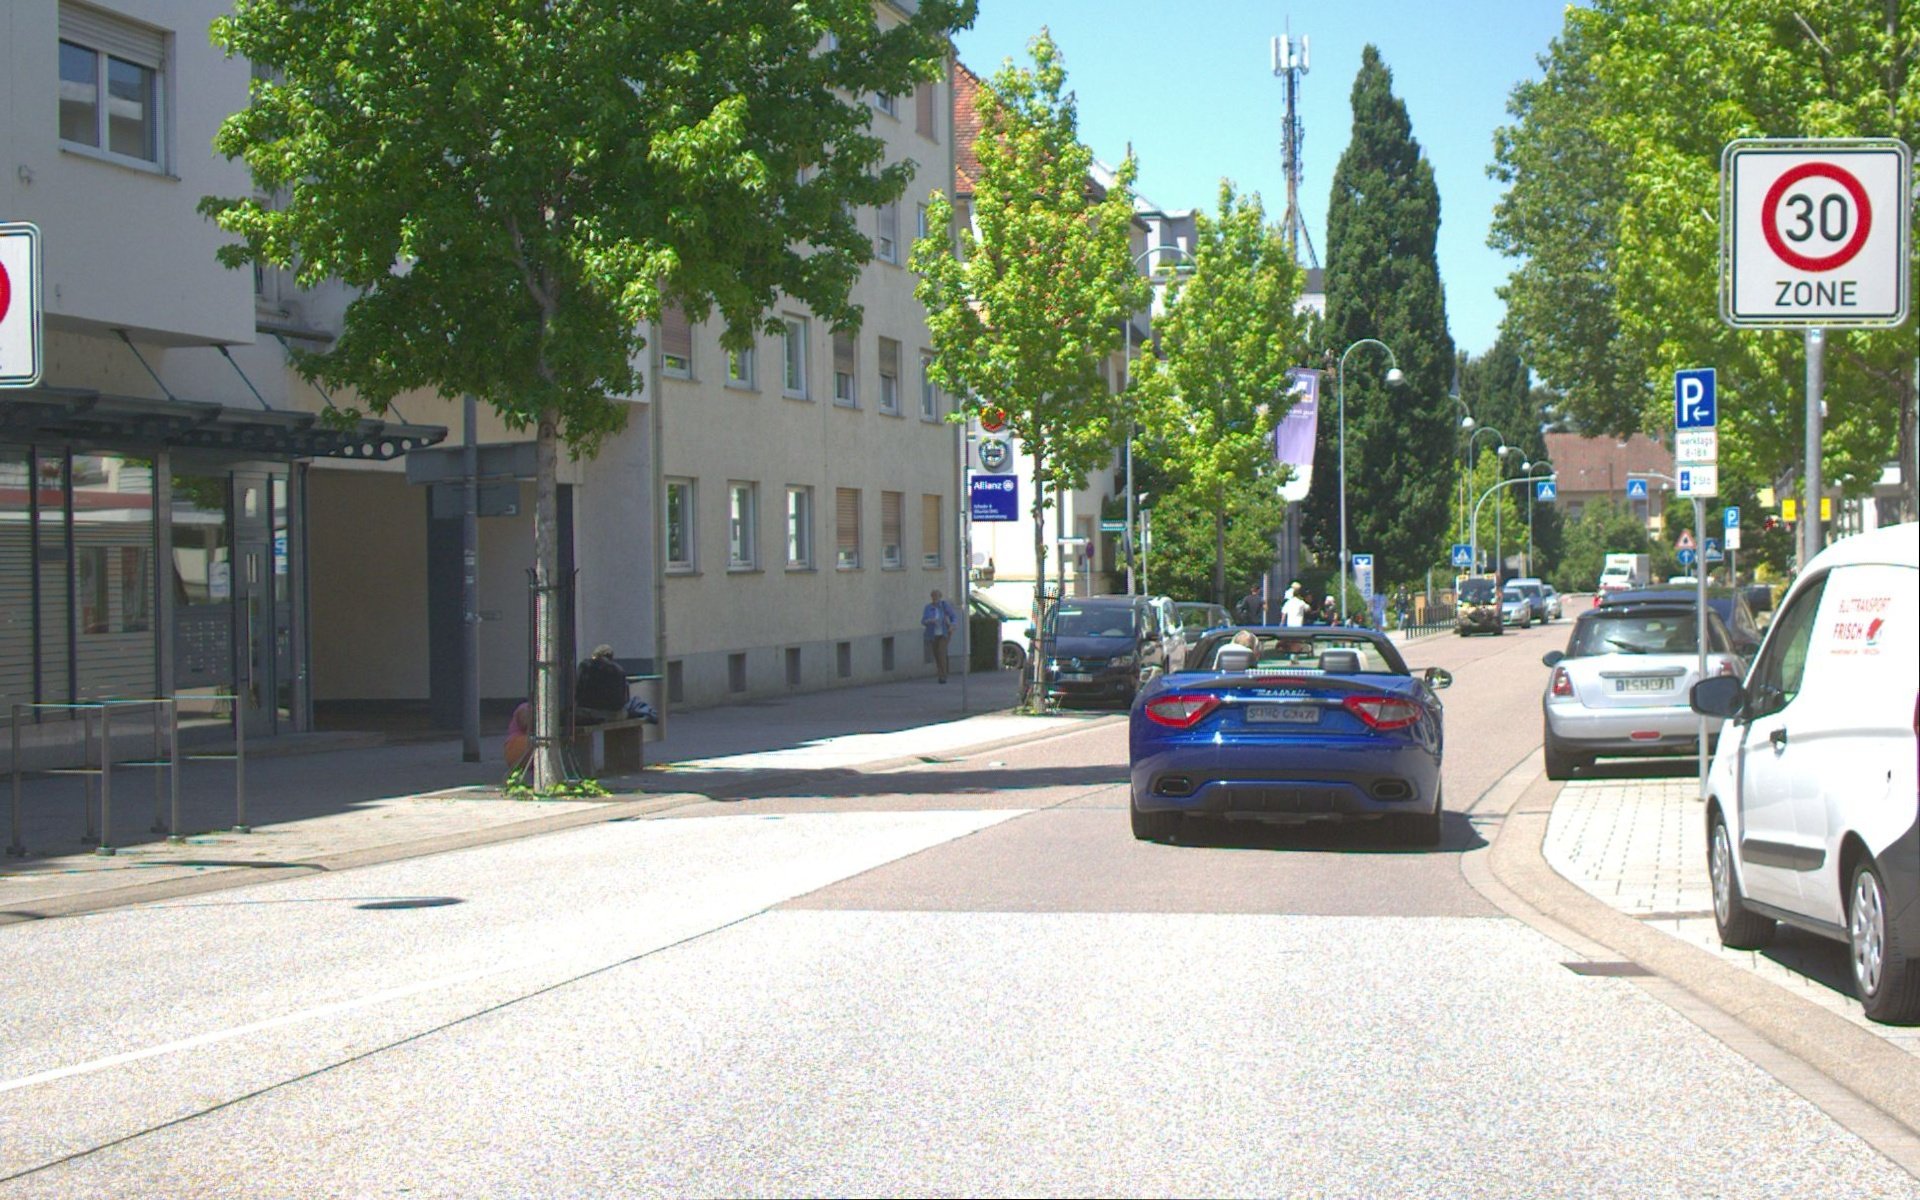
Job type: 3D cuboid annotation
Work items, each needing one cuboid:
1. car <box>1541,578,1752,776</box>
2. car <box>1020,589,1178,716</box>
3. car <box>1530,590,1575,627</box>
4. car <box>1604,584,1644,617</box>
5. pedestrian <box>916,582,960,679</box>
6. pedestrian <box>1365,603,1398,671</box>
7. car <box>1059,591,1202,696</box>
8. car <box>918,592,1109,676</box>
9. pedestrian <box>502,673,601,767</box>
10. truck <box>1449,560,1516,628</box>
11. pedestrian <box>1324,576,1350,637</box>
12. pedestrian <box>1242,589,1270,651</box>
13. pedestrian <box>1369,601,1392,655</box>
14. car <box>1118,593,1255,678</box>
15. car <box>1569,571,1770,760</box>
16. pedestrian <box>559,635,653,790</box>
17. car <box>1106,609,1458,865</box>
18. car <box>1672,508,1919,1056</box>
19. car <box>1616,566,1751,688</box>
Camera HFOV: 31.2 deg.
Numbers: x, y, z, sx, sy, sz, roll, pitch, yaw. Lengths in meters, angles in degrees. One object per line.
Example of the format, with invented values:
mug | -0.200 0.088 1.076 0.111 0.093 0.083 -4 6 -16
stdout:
car | 5.898 0.616 29.437 1.623 1.553 3.838 -1 0 12
car | 2.145 0.751 51.957 1.729 1.734 4.390 2 1 11
car | 25.973 0.368 150.517 1.770 1.471 4.135 -2 0 11
car | 30.373 0.043 157.240 1.770 1.471 4.135 -1 0 11
pedestrian | -0.403 0.537 61.537 0.655 1.674 0.631 -3 2 -5
pedestrian | 12.372 1.076 100.836 0.849 1.909 0.761 -2 2 11
car | 2.903 0.692 57.721 1.825 1.614 4.390 1 1 11
car | 1.217 0.748 77.516 4.061 1.817 1.759 1 1 11
pedestrian | -3.832 1.133 32.285 0.665 0.855 0.732 -2 -4 21
truck | 17.102 -0.217 112.362 1.805 2.110 4.712 -2 1 12
pedestrian | 9.178 0.148 83.654 0.579 1.469 0.564 -1 0 11
pedestrian | 7.052 0.477 81.904 0.579 1.469 0.564 -1 0 11
pedestrian | 12.345 0.814 100.868 0.587 1.569 0.781 -1 0 11
car | 4.238 0.628 63.777 1.755 1.469 4.318 1 1 14
car | 7.078 0.601 34.197 1.765 1.700 4.703 -2 0 12
pedestrian | -3.207 1.015 31.162 0.568 1.367 0.666 -2 -1 21
car | 2.001 0.786 21.964 1.976 1.393 4.626 1 0 4
car | 3.897 0.534 12.736 1.747 1.718 3.910 -3 0 2
car | 12.173 0.421 57.637 1.995 1.792 4.566 -2 2 14
